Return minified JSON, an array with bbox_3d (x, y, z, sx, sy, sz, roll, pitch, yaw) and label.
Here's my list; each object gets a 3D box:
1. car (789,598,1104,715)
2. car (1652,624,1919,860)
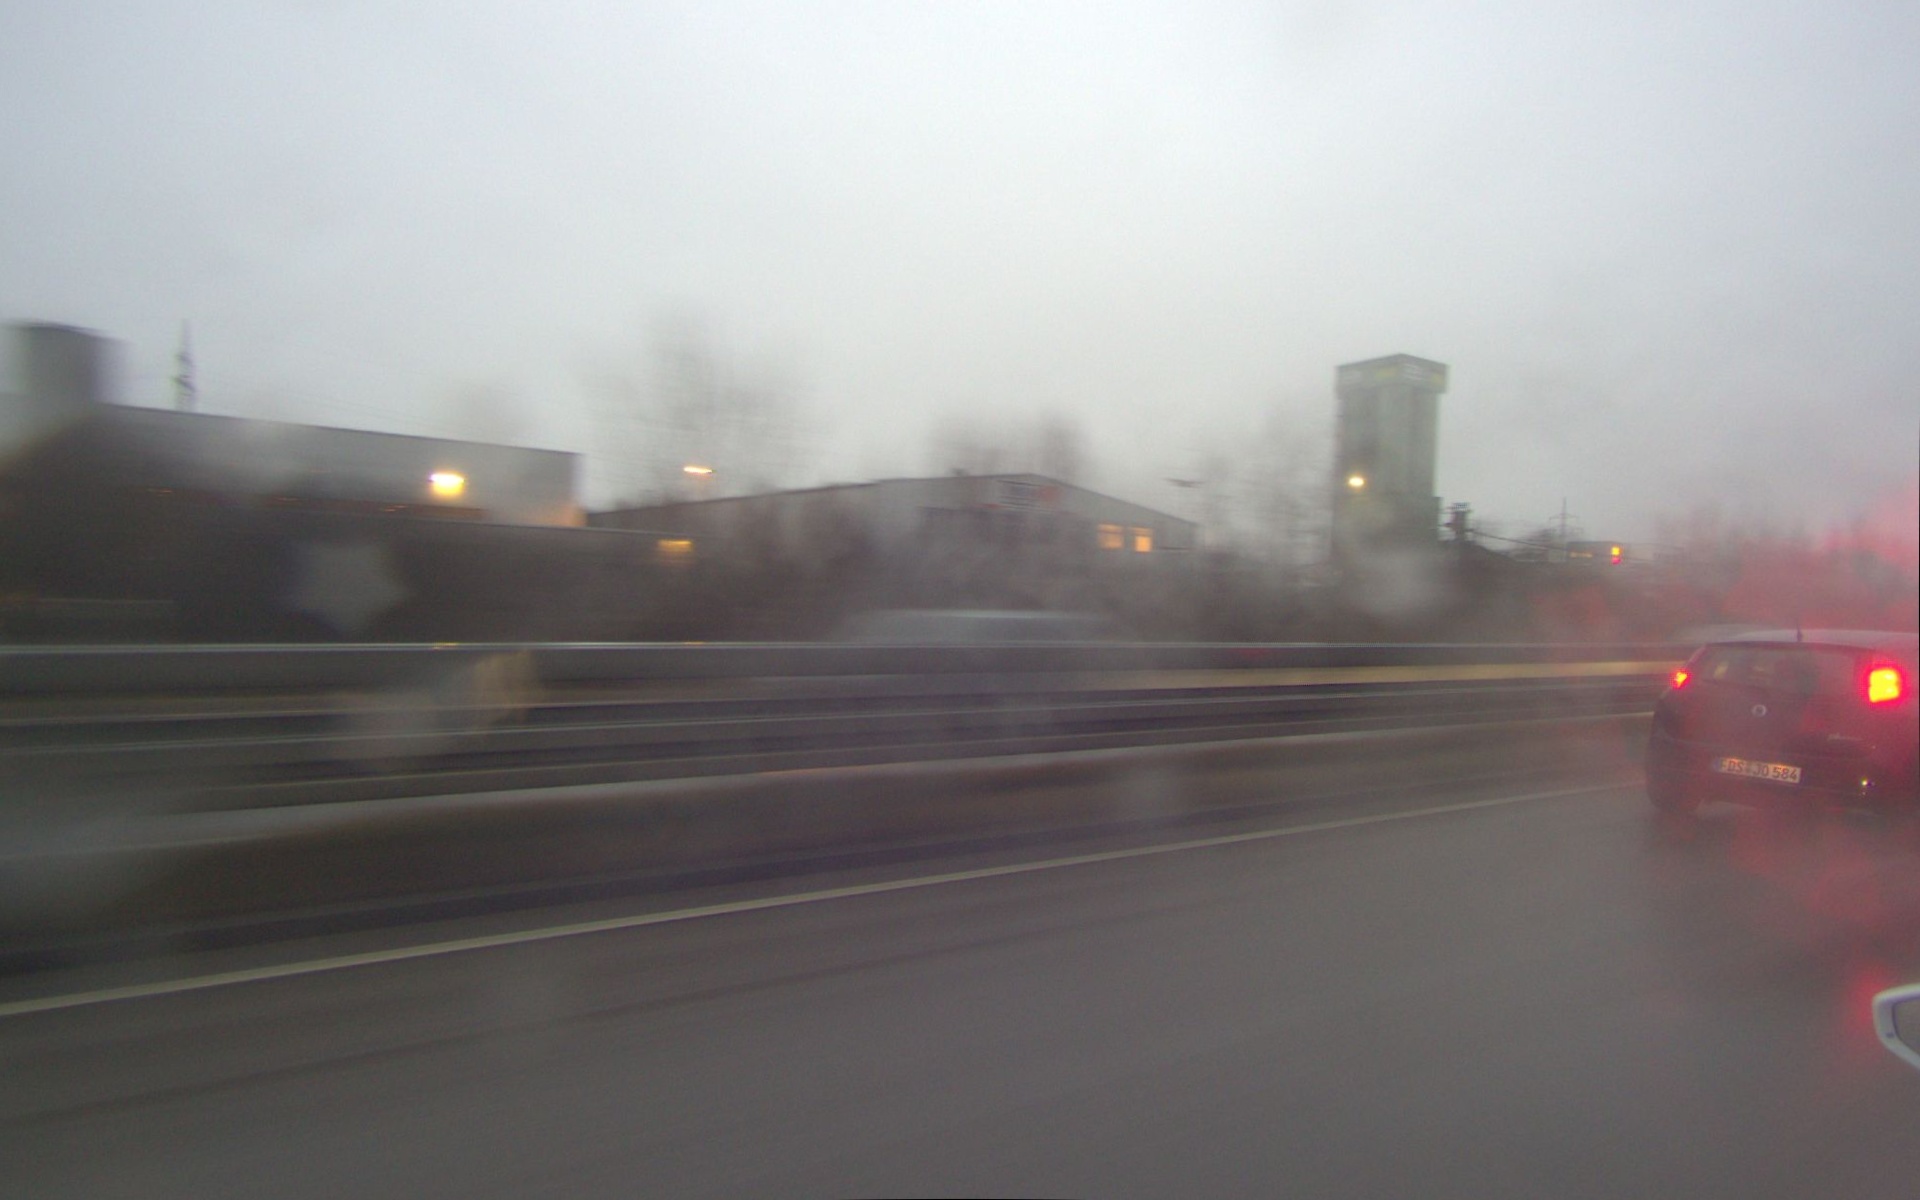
[{"bbox_3d":[-0.142,0.777,14.598,4.314,1.494,1.695,2,-1,-30],"label":"car"},{"bbox_3d":[7.410,0.977,8.000,3.954,1.410,1.617,2,1,-31],"label":"car"}]
